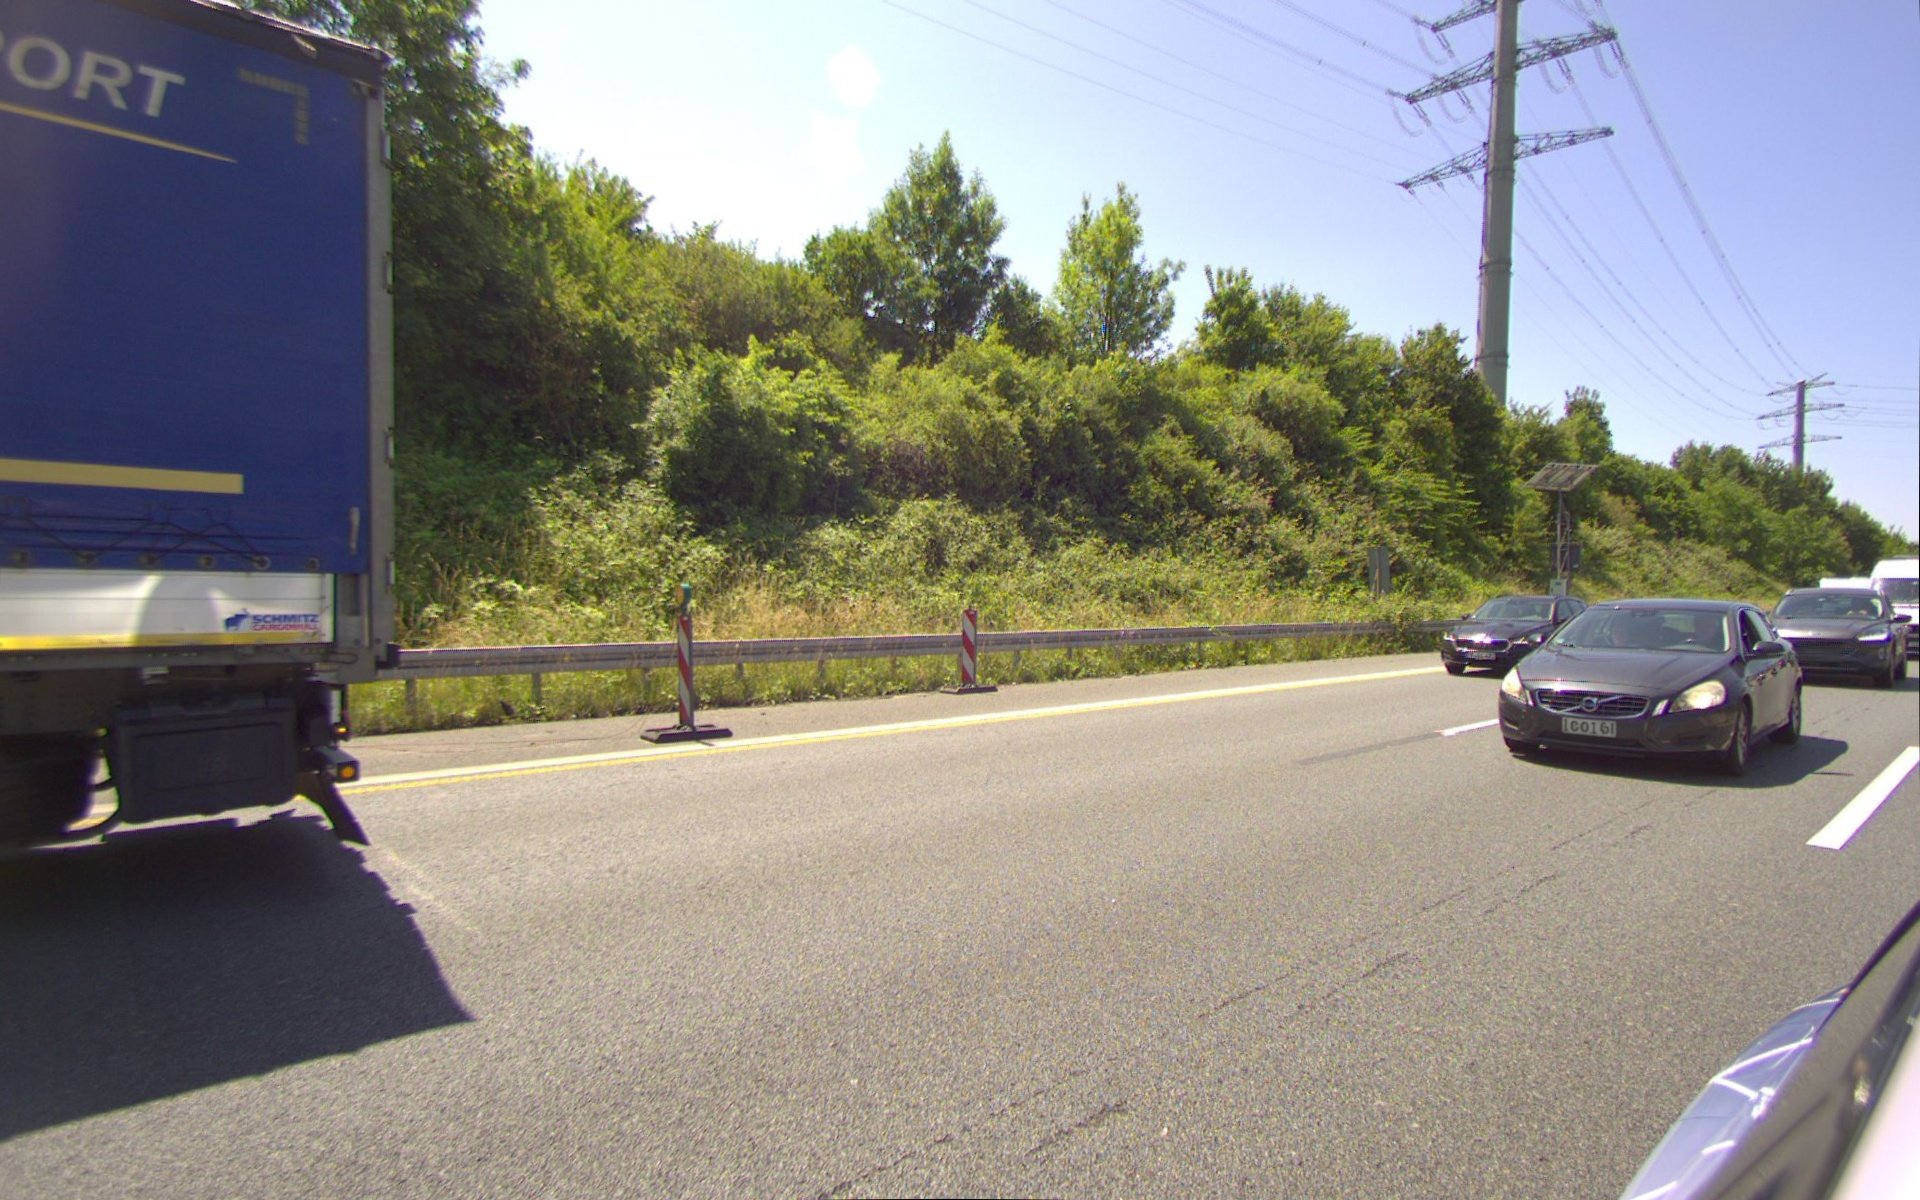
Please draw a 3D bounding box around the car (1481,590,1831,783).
[{"bbox_3d":[6.852,0.633,9.760,4.432,1.437,1.797,-1,0,-42],"label":"car"}]

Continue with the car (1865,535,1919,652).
[{"bbox_3d":[25.115,-0.176,26.029,6.591,2.753,2.040,-1,0,-42],"label":"car"}]

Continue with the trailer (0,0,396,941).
[{"bbox_3d":[-8.313,-0.802,1.653,12.657,4.317,2.771,-1,0,-42],"label":"trailer"}]

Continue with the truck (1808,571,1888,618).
[{"bbox_3d":[43.698,-0.274,49.744,5.629,2.195,2.251,-1,0,-41],"label":"truck"}]

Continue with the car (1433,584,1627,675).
[{"bbox_3d":[10.938,0.476,19.275,4.771,1.531,1.793,-1,0,-42],"label":"car"}]

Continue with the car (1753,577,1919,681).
[{"bbox_3d":[15.741,0.438,17.986,4.147,1.631,1.891,-1,0,-42],"label":"car"}]
